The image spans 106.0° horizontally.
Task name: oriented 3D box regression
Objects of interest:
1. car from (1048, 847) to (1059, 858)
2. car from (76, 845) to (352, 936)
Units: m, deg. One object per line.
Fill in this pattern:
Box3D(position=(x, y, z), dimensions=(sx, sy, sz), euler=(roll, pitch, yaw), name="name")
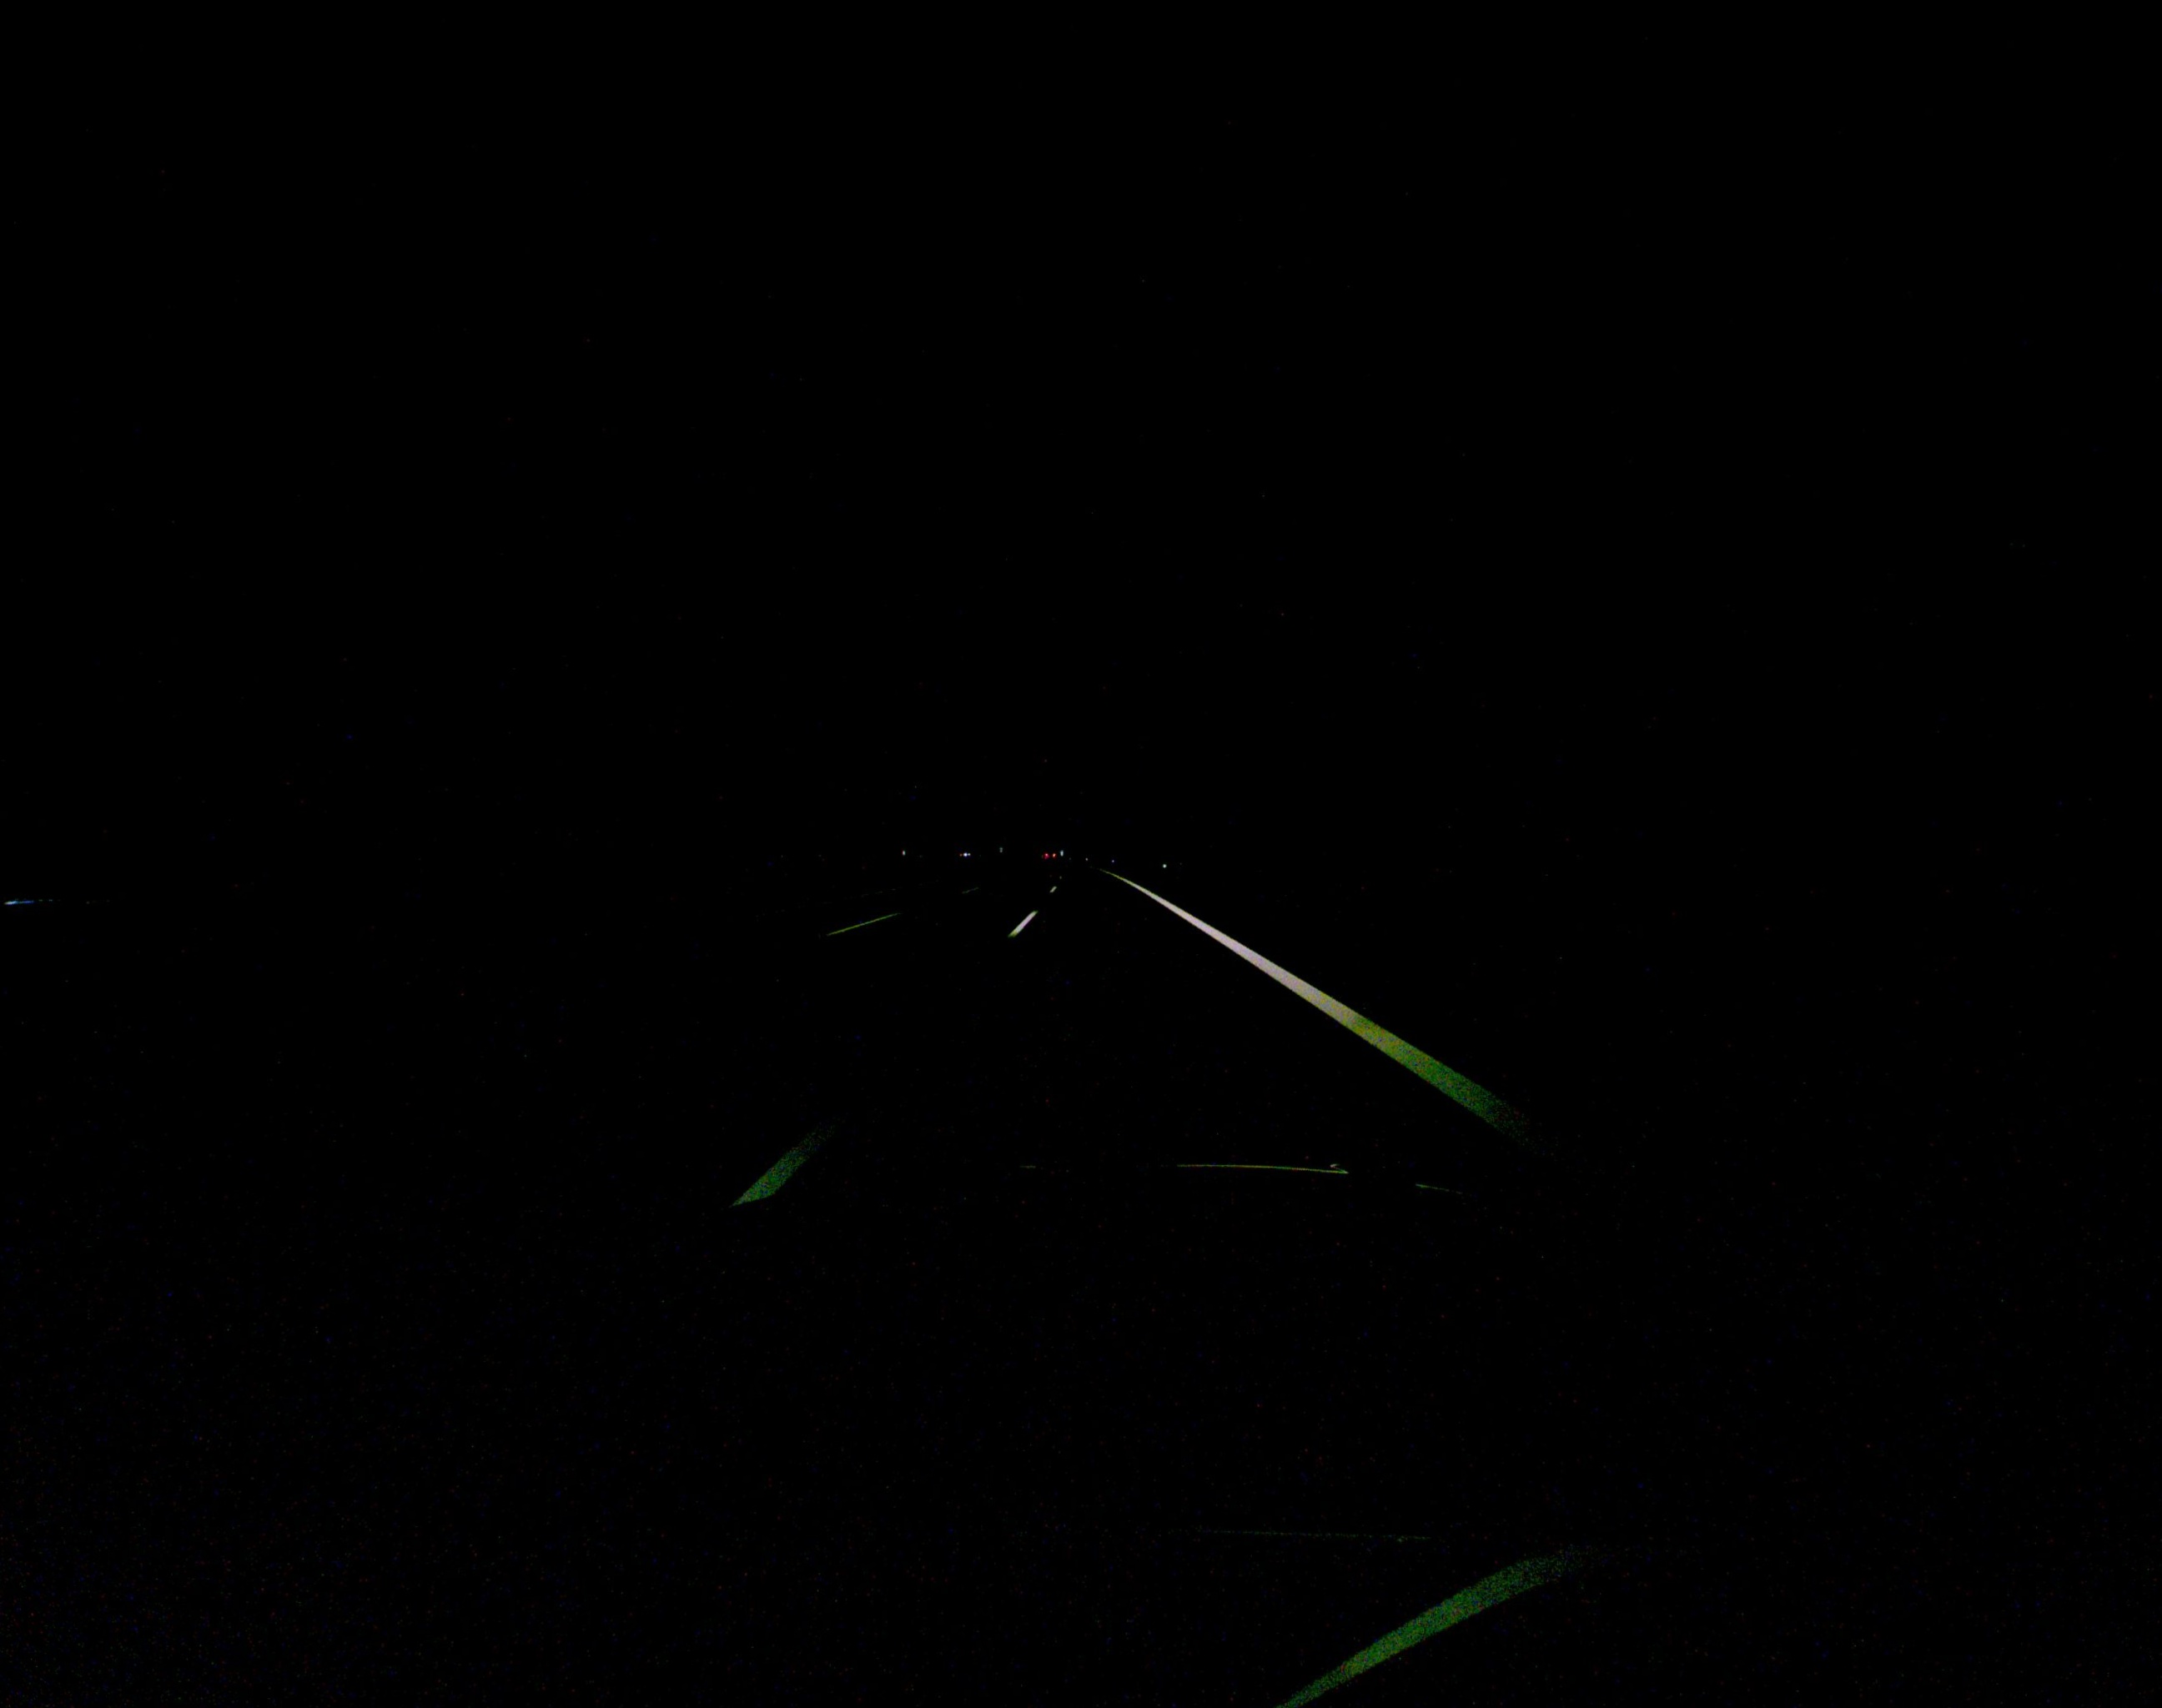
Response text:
Box3D(position=(-6.688, -0.403, 195.179), dimensions=(2.522, 2.553, 6.044), euler=(2, 0, -3), name="car")
Box3D(position=(-19.685, 0.755, 18.820), dimensions=(1.987, 1.854, 4.076), euler=(-1, 0, 0), name="car")
